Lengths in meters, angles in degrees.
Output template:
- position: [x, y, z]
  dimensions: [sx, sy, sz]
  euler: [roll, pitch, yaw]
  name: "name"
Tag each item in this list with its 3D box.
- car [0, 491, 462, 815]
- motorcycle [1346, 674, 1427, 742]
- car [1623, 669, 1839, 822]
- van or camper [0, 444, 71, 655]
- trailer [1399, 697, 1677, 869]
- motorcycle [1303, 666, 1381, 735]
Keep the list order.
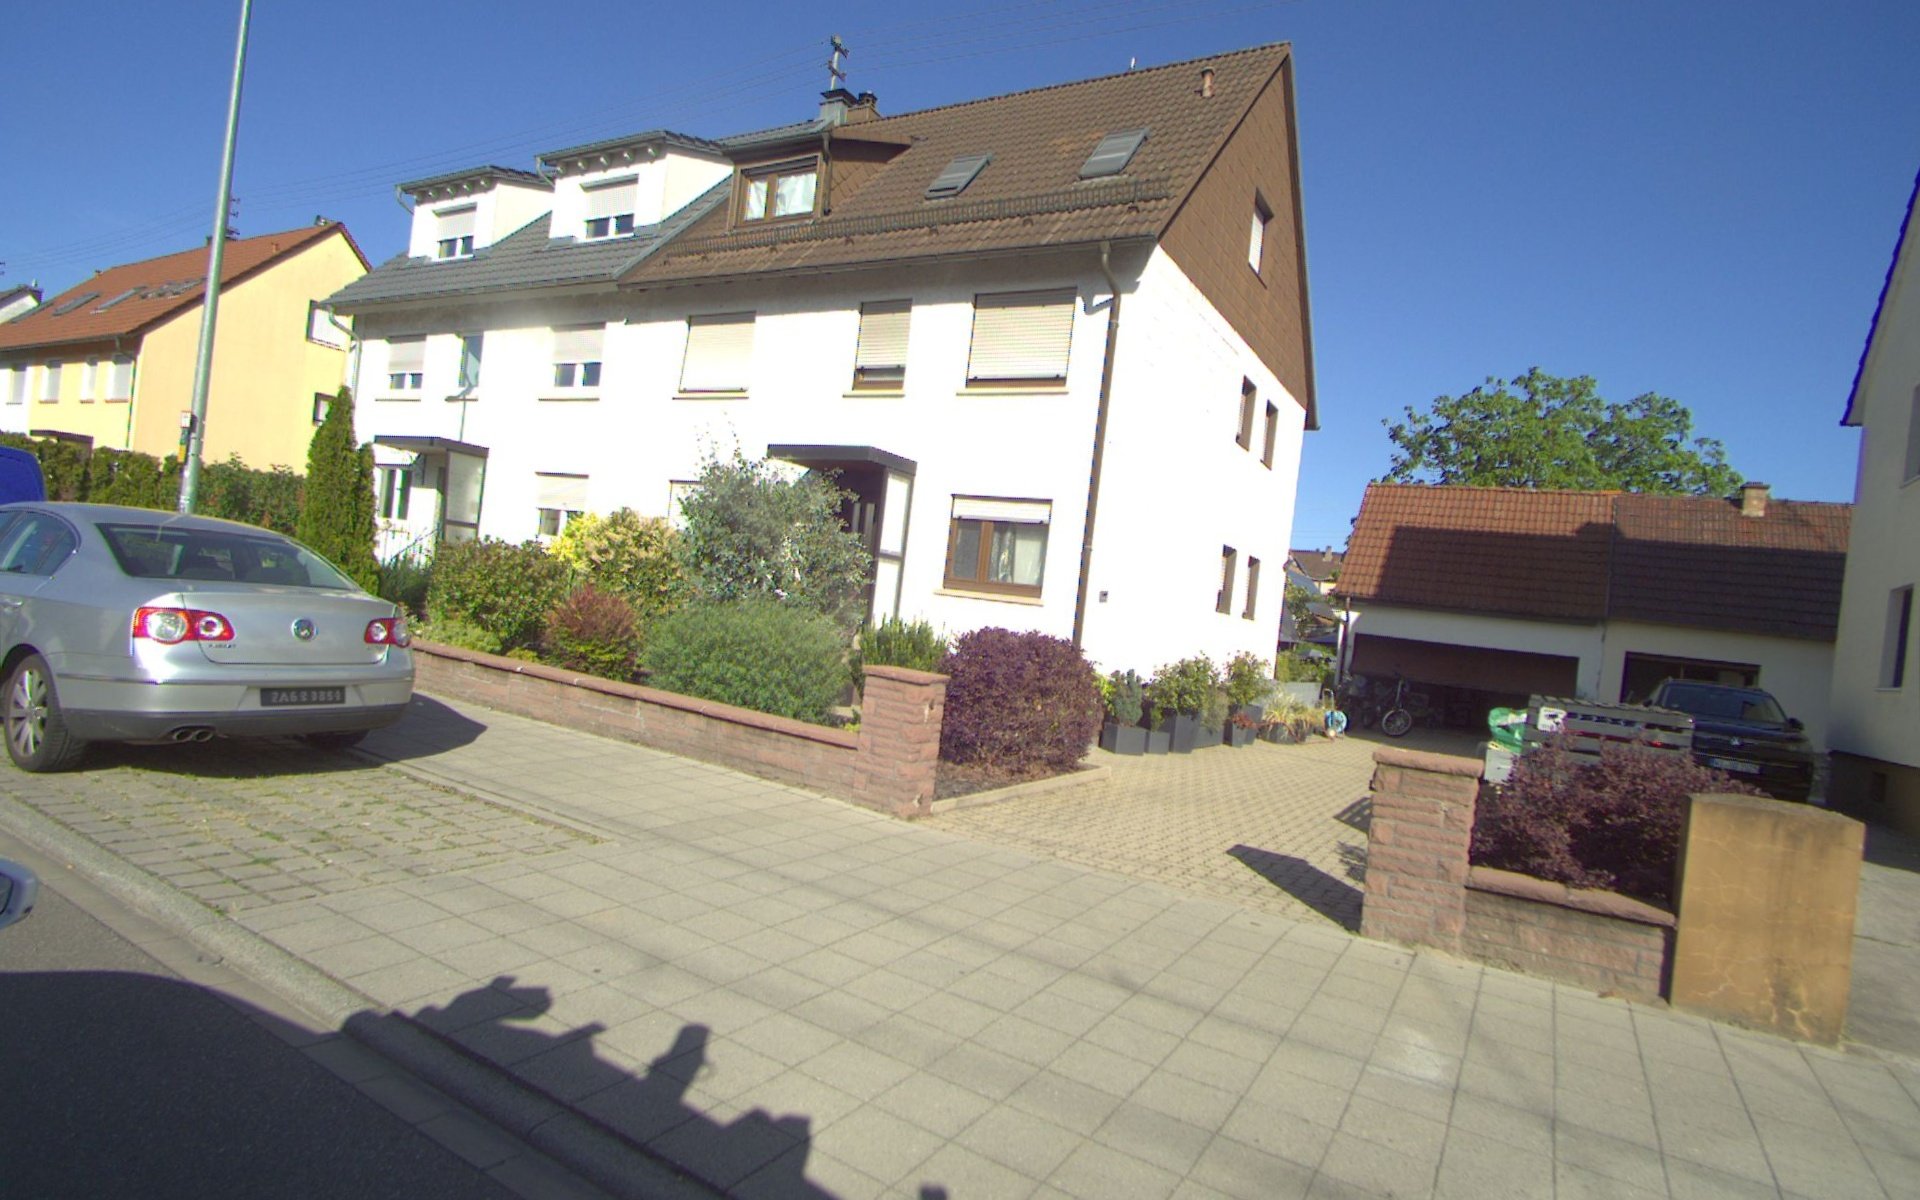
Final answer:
- position: [-5.876, 0.084, 6.788]
  dimensions: [5.194, 1.476, 1.733]
  euler: [7, 0, 28]
  name: "car"
- position: [8.763, 2.199, 20.766]
  dimensions: [0.700, 1.104, 1.966]
  euler: [7, 0, 0]
  name: "motorcycle"
- position: [11.001, 1.985, 14.667]
  dimensions: [1.875, 1.660, 3.993]
  euler: [7, 0, 31]
  name: "car"
- position: [-11.133, -0.731, 9.887]
  dimensions: [5.489, 1.870, 1.951]
  euler: [6, 1, 31]
  name: "van or camper"
- position: [6.567, 1.827, 11.338]
  dimensions: [2.100, 1.170, 5.125]
  euler: [6, -1, 33]
  name: "trailer"
- position: [7.884, 2.049, 20.860]
  dimensions: [0.693, 1.188, 2.041]
  euler: [7, 0, 0]
  name: "motorcycle"
